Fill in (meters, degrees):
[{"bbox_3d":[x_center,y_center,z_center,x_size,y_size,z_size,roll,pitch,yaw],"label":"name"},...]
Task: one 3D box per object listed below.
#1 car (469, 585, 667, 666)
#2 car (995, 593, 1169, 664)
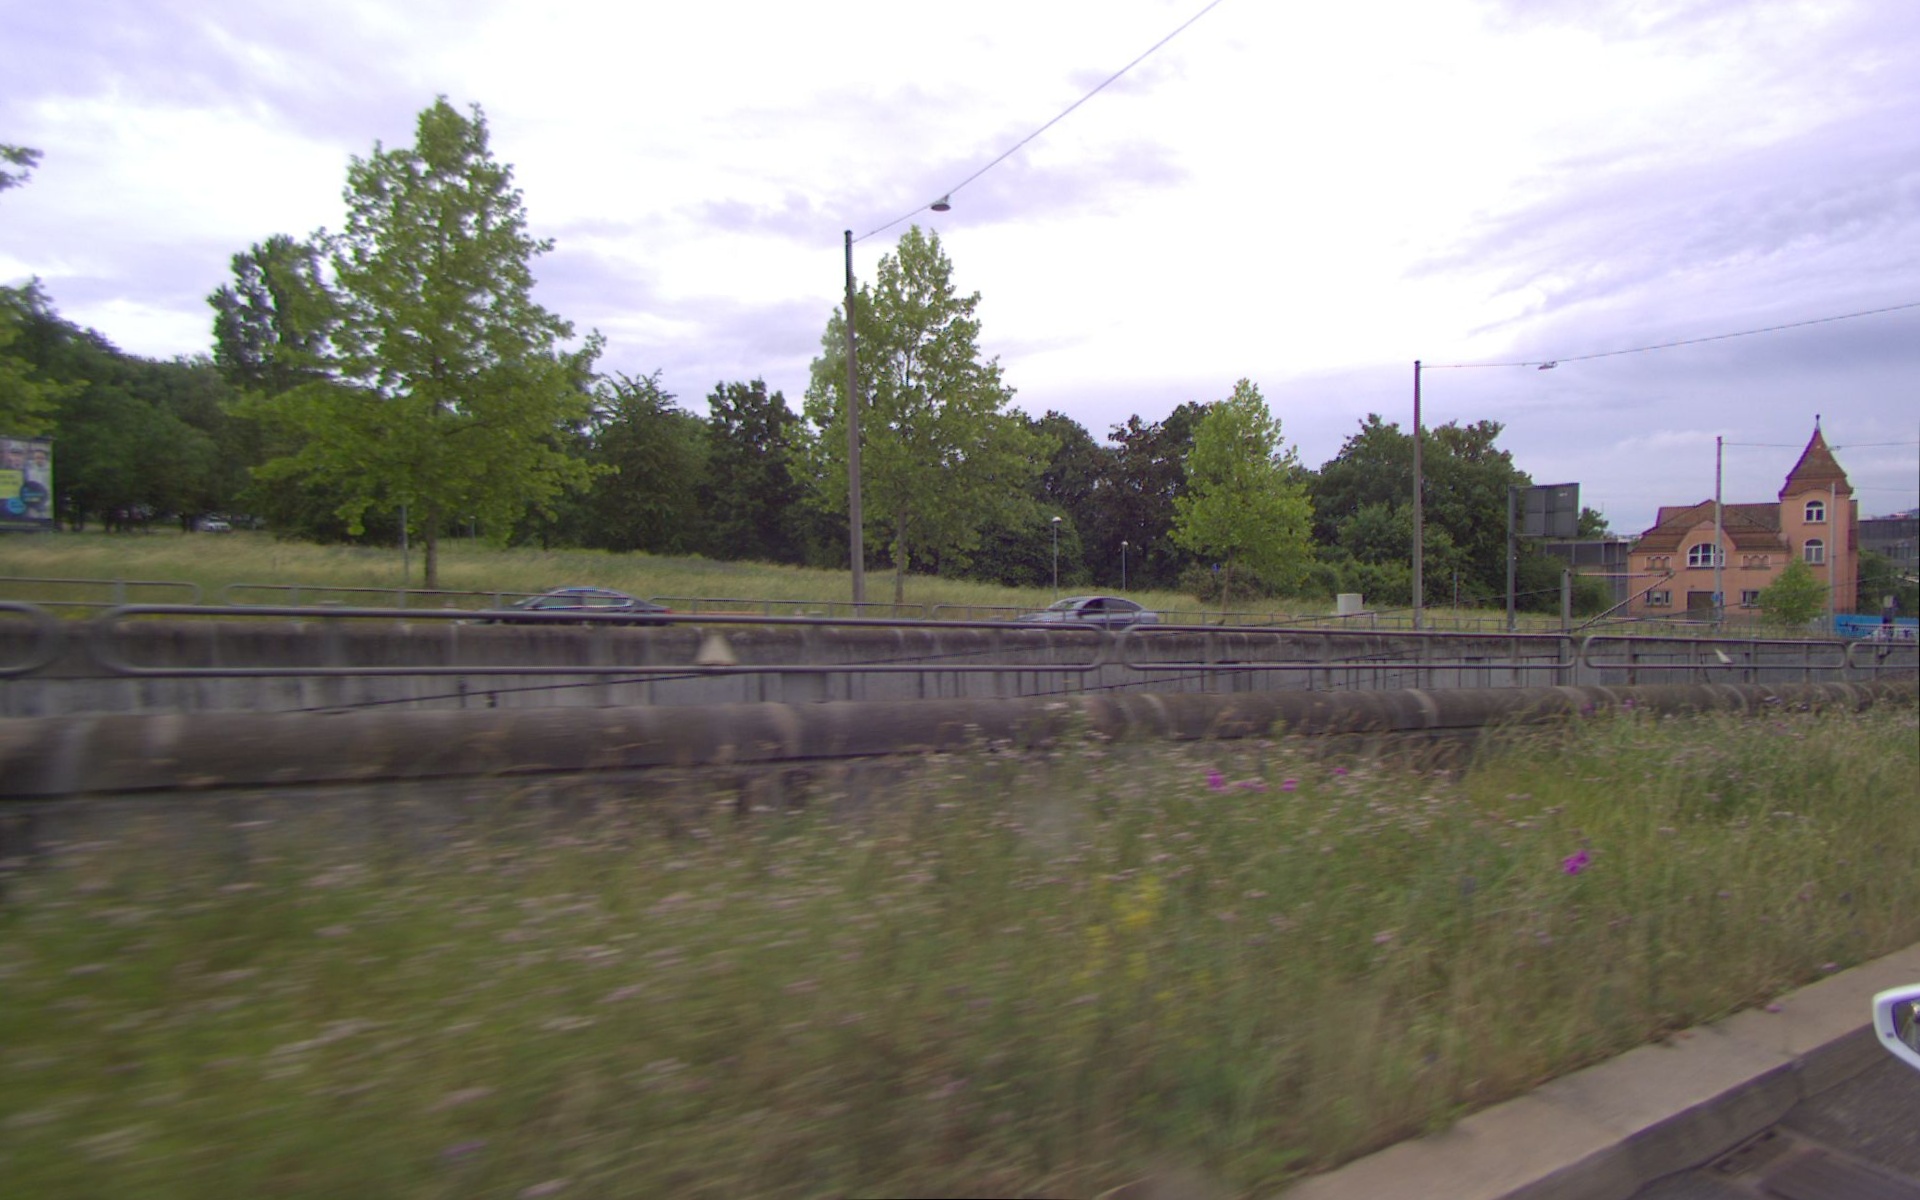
[{"bbox_3d":[-8.810,0.557,22.590,3.925,1.663,1.882,2,0,-29],"label":"car"},{"bbox_3d":[3.292,0.775,26.952,4.305,1.666,1.882,2,3,-29],"label":"car"}]
